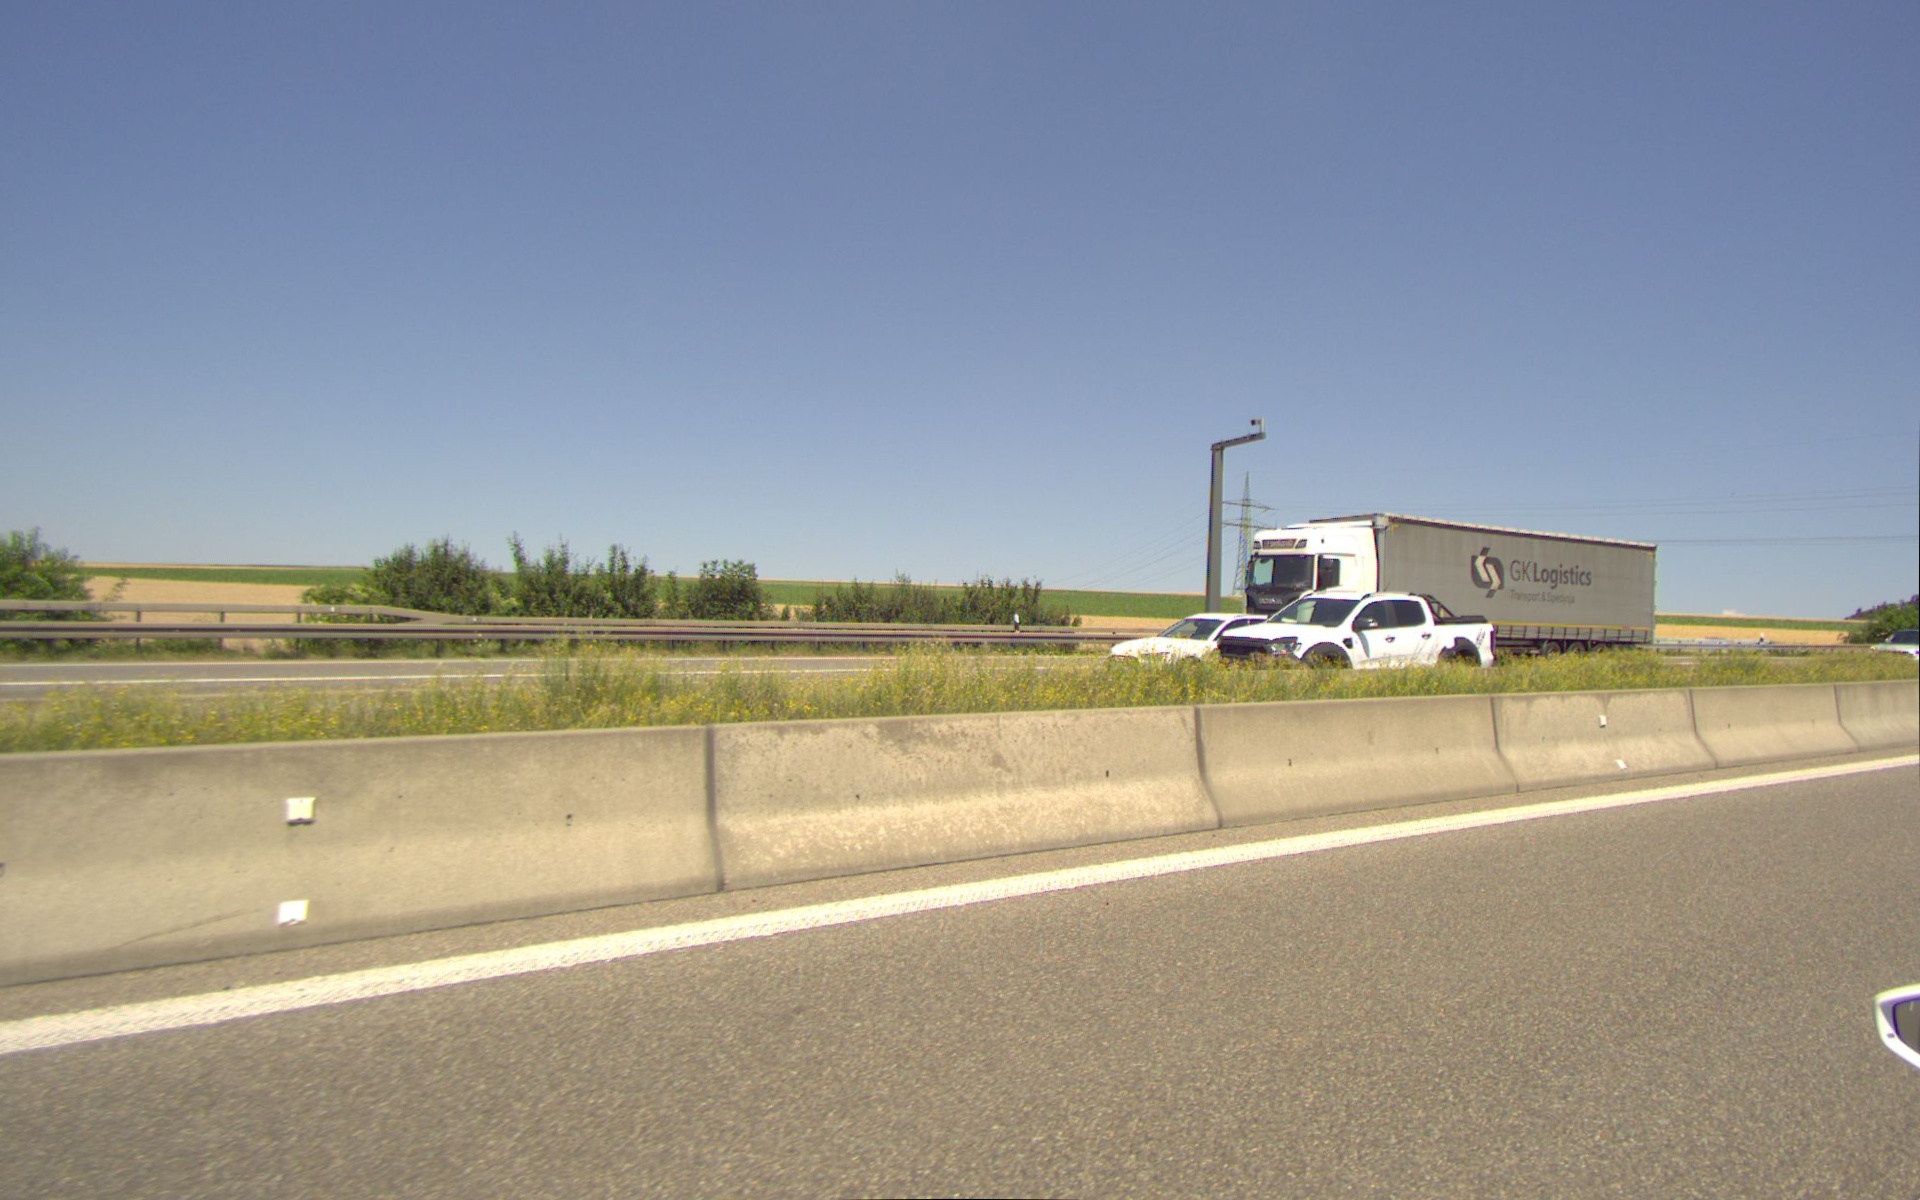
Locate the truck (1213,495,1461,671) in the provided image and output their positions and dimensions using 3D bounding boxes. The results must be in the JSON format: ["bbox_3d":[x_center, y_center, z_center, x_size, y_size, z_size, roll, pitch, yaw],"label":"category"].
[{"bbox_3d":[10.434,-0.336,27.772,6.072,4.385,3.119,2,0,-29],"label":"truck"}]

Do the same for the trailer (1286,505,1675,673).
[{"bbox_3d":[16.506,-0.067,31.065,14.365,4.382,3.110,2,0,-29],"label":"trailer"}]

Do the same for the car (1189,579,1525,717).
[{"bbox_3d":[6.539,0.759,16.309,5.609,1.929,1.984,3,0,-30],"label":"car"}]

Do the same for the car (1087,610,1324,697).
[{"bbox_3d":[4.791,1.004,19.437,4.440,1.479,1.833,2,0,-31],"label":"car"}]

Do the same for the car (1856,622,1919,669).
[{"bbox_3d":[34.711,1.663,36.375,4.533,1.608,1.985,2,-1,-29],"label":"car"}]
